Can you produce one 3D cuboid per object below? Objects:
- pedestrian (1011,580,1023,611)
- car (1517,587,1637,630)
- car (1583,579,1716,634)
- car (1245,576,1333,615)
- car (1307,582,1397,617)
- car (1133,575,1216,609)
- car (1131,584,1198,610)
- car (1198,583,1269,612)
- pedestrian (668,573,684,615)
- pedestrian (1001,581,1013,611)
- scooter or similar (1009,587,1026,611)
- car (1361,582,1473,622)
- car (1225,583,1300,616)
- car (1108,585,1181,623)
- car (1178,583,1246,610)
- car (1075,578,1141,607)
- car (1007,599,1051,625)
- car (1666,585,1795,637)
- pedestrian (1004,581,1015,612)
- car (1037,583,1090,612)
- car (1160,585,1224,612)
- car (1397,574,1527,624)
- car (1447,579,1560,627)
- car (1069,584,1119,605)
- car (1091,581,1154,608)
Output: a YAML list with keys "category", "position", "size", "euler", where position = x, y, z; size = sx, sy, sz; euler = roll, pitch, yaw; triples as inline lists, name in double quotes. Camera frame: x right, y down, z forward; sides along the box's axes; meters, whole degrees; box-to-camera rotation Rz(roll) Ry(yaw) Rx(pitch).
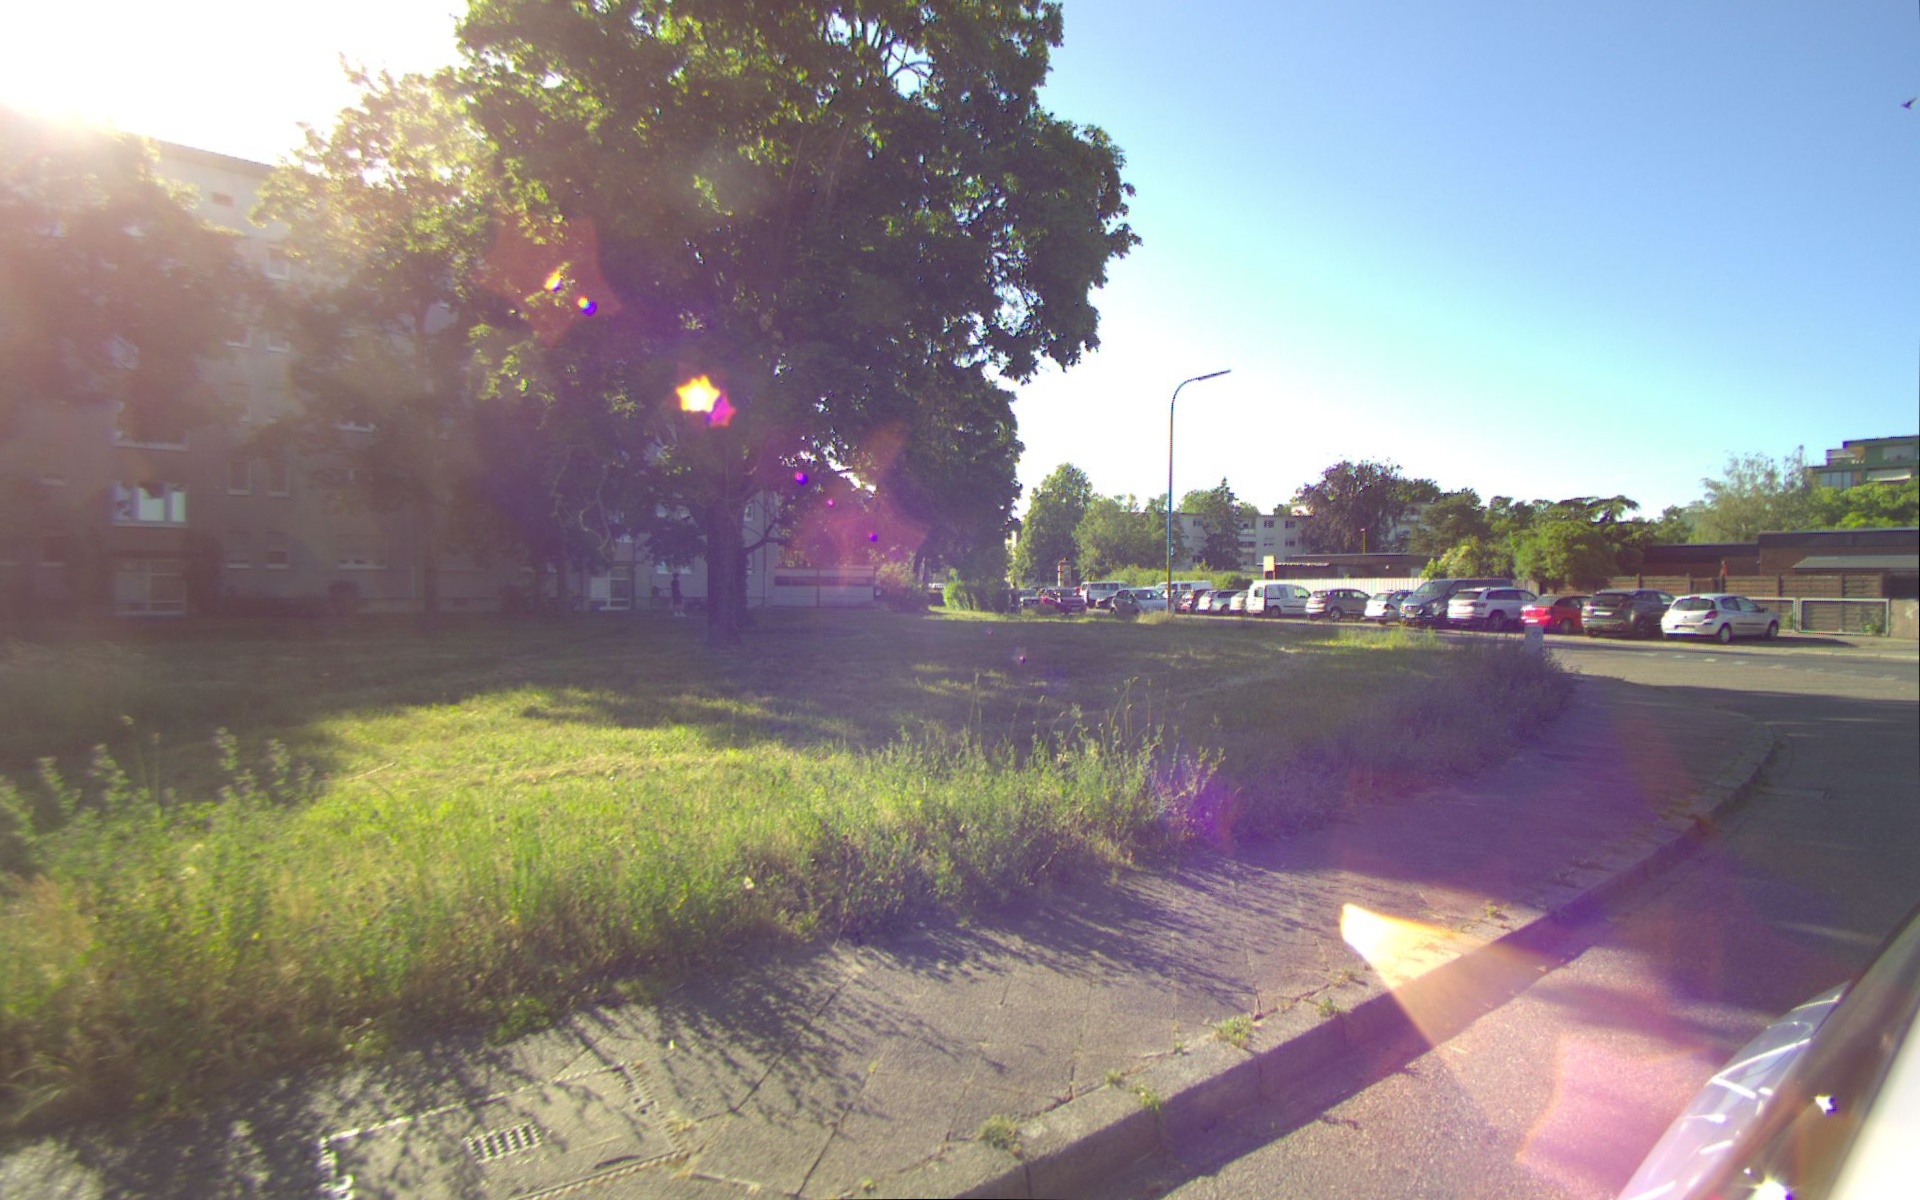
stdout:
- category: "pedestrian"
  position: [2.950, -0.238, 52.507]
  size: [0.473, 1.584, 0.597]
  euler: [2, 1, -3]
- category: "car"
  position: [22.203, 0.273, 36.433]
  size: [3.548, 1.360, 1.737]
  euler: [-2, 2, -16]
- category: "car"
  position: [23.000, 0.166, 33.767]
  size: [3.917, 1.632, 1.822]
  euler: [-2, 2, -23]
- category: "car"
  position: [17.090, -0.247, 52.588]
  size: [3.907, 1.802, 1.929]
  euler: [-2, 1, -16]
- category: "car"
  position: [18.638, -0.041, 48.154]
  size: [3.746, 1.551, 1.793]
  euler: [-1, 1, -19]
- category: "car"
  position: [13.740, -0.543, 64.925]
  size: [4.704, 1.944, 2.086]
  euler: [-2, 1, -15]
- category: "car"
  position: [13.718, -0.221, 67.900]
  size: [3.918, 1.602, 1.887]
  euler: [-2, 2, -9]
- category: "car"
  position: [15.524, -0.137, 57.479]
  size: [3.452, 1.507, 1.640]
  euler: [-2, 1, -11]
- category: "pedestrian"
  position: [-11.648, -0.260, 41.535]
  size: [0.481, 1.683, 0.536]
  euler: [-2, 1, -3]
- category: "pedestrian"
  position: [2.476, -0.225, 53.456]
  size: [0.477, 1.584, 0.470]
  euler: [2, 1, -17]
- category: "scooter or similar"
  position: [3.032, -0.039, 53.613]
  size: [0.612, 1.242, 0.907]
  euler: [1, 1, -14]
- category: "car"
  position: [19.711, 0.061, 43.711]
  size: [4.064, 1.511, 1.930]
  euler: [-2, 2, -15]
- category: "car"
  position: [16.426, -0.045, 55.000]
  size: [3.452, 1.506, 1.732]
  euler: [-4, 4, -15]
- category: "car"
  position: [8.084, 0.143, 44.678]
  size: [1.700, 1.562, 3.797]
  euler: [-1, 2, -15]
- category: "car"
  position: [14.799, -0.201, 59.535]
  size: [3.451, 1.508, 1.640]
  euler: [-2, 0, -15]
- category: "car"
  position: [11.108, -0.585, 76.150]
  size: [4.401, 2.001, 2.004]
  euler: [-2, 2, -10]
- category: "car"
  position: [4.181, 0.728, 61.700]
  size: [1.618, 1.420, 3.890]
  euler: [1, 1, -12]
- category: "car"
  position: [23.913, 0.313, 31.405]
  size: [3.622, 1.477, 1.638]
  euler: [-1, 1, -23]
- category: "pedestrian"
  position: [2.537, -0.180, 51.986]
  size: [0.355, 1.522, 0.502]
  euler: [2, 1, -16]
- category: "car"
  position: [5.514, -0.171, 54.533]
  size: [1.547, 1.464, 3.797]
  euler: [-1, 2, -15]
- category: "car"
  position: [14.282, -0.118, 62.306]
  size: [3.451, 1.464, 1.640]
  euler: [-2, 2, -17]
- category: "car"
  position: [20.428, -0.080, 41.186]
  size: [4.785, 1.939, 2.004]
  euler: [-1, 1, -20]
- category: "car"
  position: [20.656, 0.093, 38.510]
  size: [3.548, 1.627, 1.737]
  euler: [-2, 2, -16]
- category: "car"
  position: [10.819, -0.448, 81.860]
  size: [3.540, 1.587, 1.884]
  euler: [-2, 0, -9]
- category: "car"
  position: [11.834, -0.412, 73.721]
  size: [4.079, 1.727, 1.887]
  euler: [-2, 2, -9]
